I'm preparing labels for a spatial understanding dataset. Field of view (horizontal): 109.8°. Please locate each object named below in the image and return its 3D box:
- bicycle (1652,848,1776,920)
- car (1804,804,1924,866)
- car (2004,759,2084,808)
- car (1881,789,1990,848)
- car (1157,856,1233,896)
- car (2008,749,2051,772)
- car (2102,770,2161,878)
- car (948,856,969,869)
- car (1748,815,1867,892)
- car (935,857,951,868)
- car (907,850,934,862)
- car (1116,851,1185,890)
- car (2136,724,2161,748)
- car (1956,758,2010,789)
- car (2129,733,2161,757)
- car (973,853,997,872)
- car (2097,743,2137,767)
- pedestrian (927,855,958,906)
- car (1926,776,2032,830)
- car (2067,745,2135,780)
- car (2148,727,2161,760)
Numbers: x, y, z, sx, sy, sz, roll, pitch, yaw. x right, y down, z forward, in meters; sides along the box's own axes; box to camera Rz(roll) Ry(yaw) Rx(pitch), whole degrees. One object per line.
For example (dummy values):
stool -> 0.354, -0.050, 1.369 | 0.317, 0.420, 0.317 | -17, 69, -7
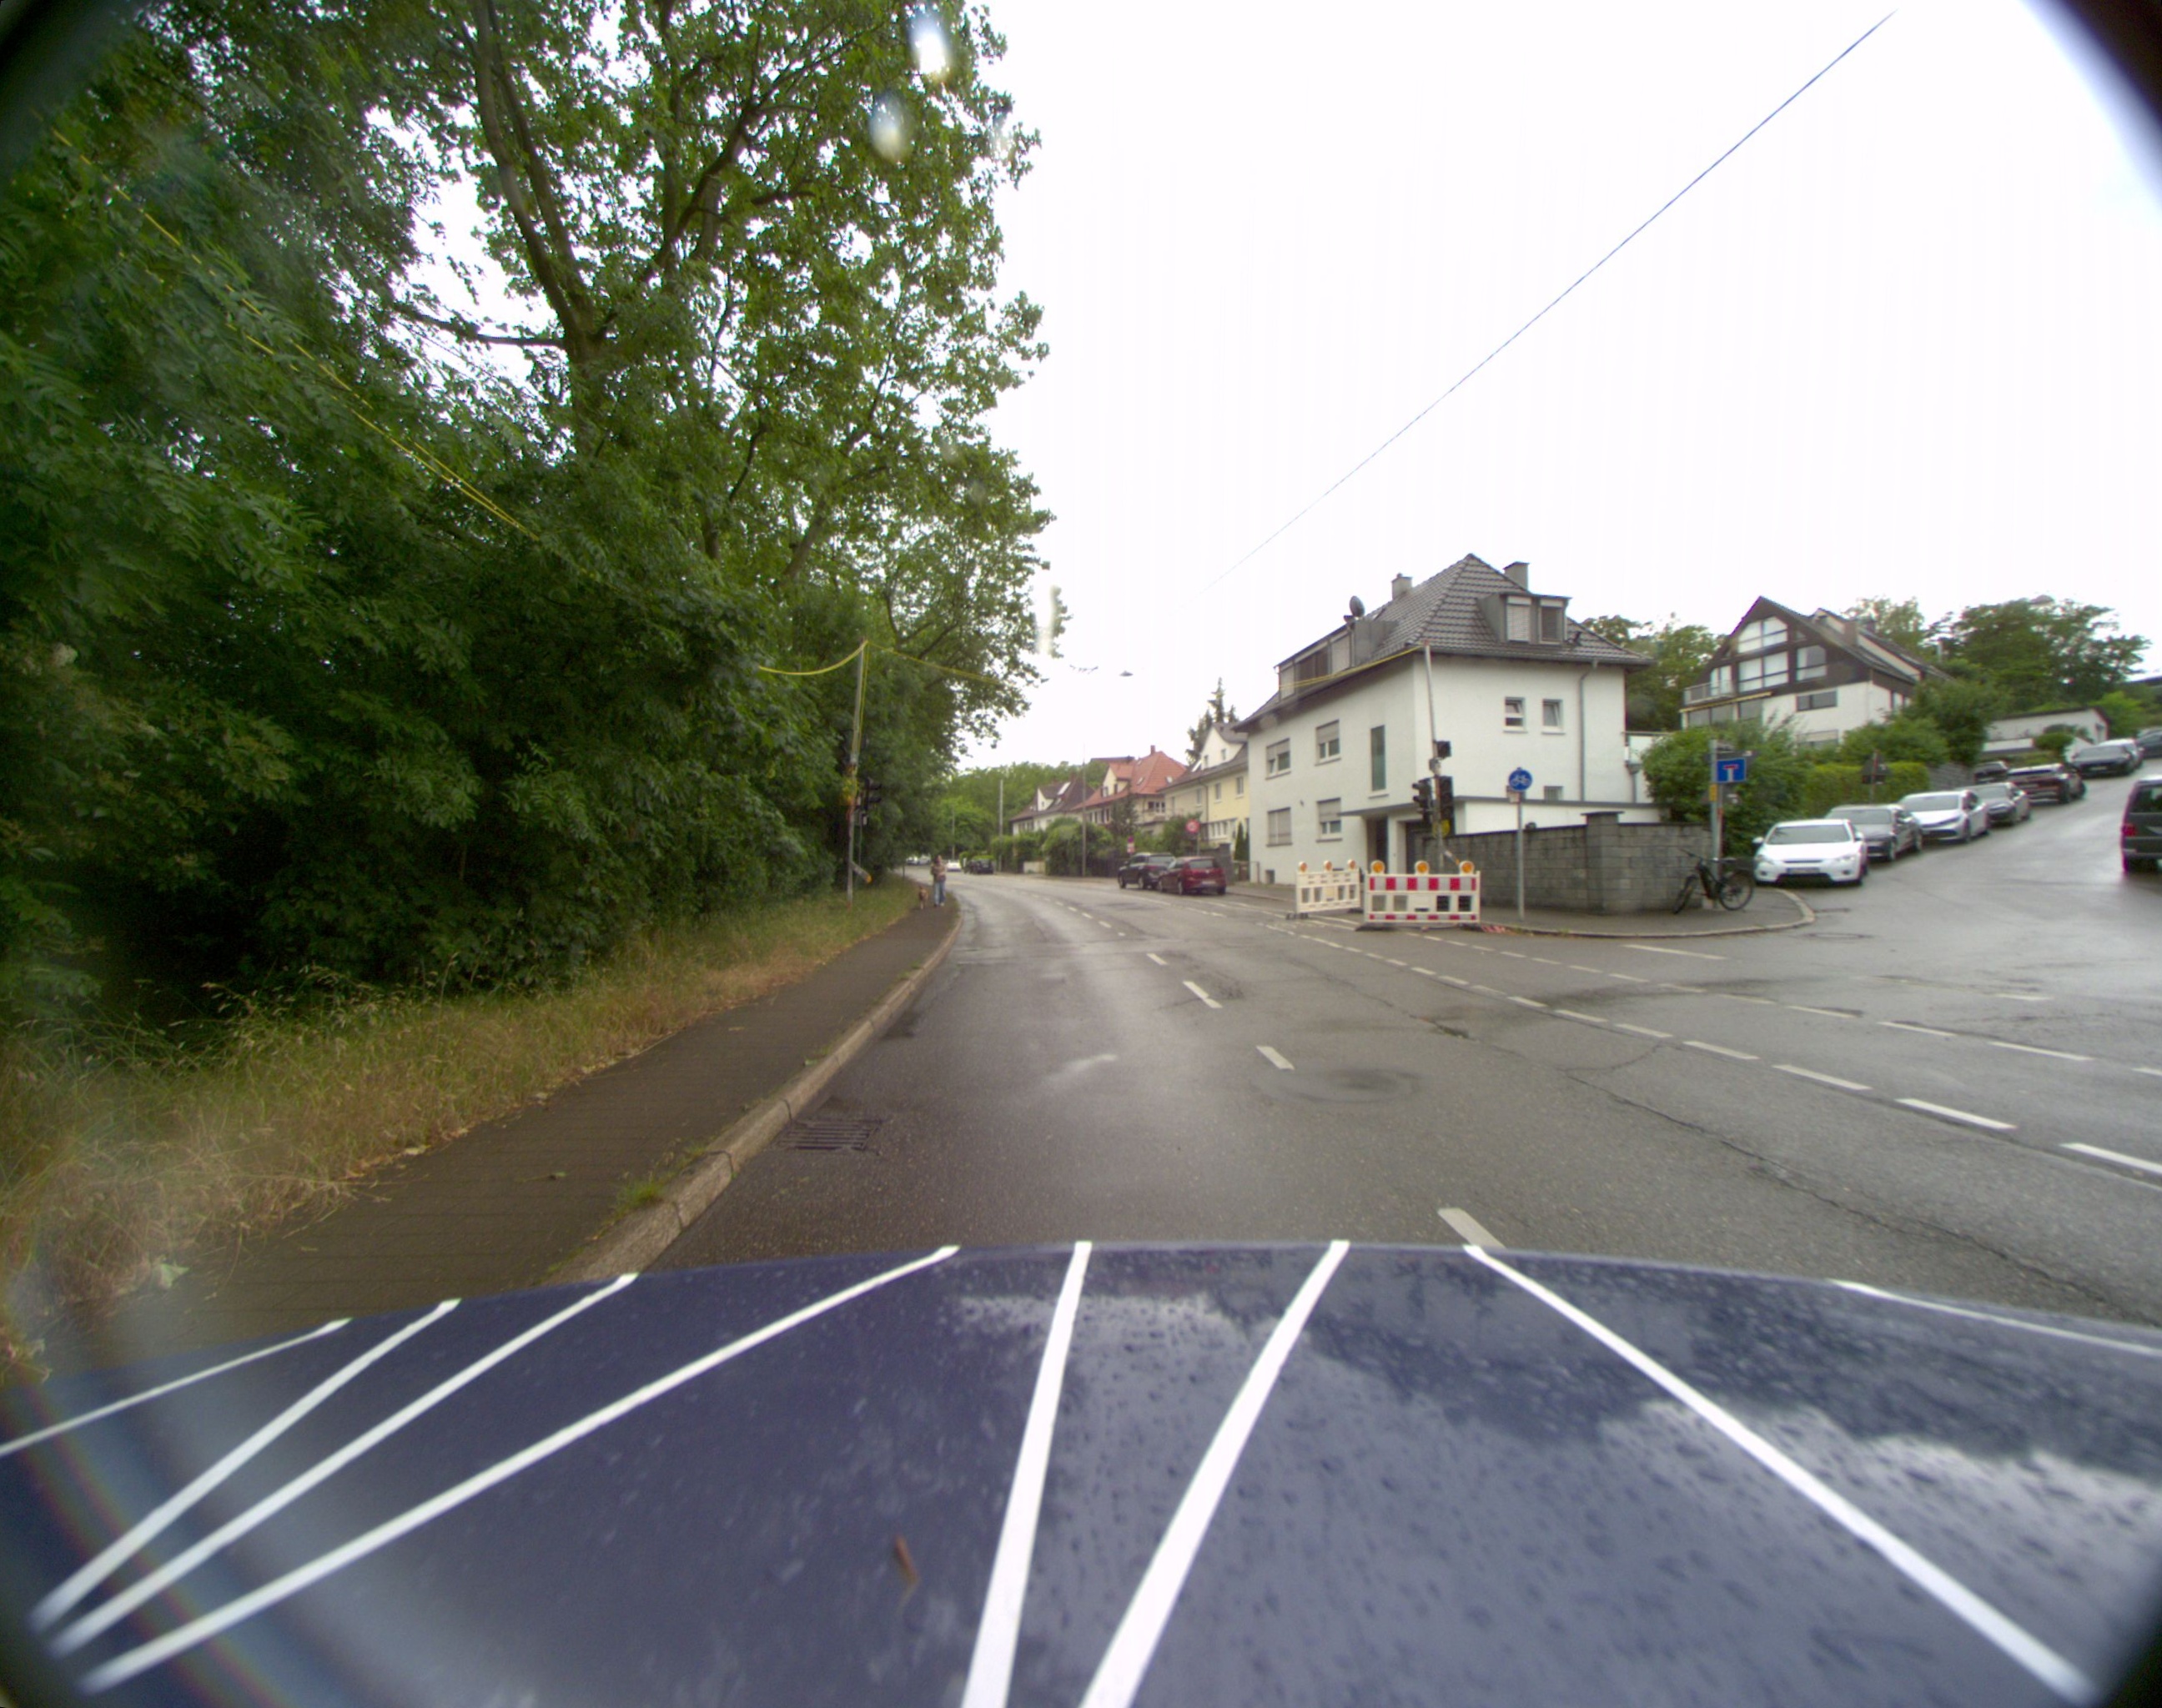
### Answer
bicycle -> 11.591, 0.533, 13.933 | 2.006, 1.232, 0.510 | -2, 3, -8
car -> 22.467, -0.562, 21.757 | 3.910, 1.380, 1.719 | -7, 3, -34
car -> 40.723, -2.988, 32.110 | 4.004, 1.617, 1.638 | -8, 4, -32
car -> 27.273, -1.157, 24.229 | 3.951, 1.462, 1.755 | -7, 3, -33
car -> 4.386, 0.814, 29.903 | 1.787, 1.423, 3.844 | -2, 0, -10
car -> 57.242, -5.643, 45.863 | 3.656, 1.205, 1.577 | -7, 3, -38
car -> 23.886, -0.756, 16.259 | 4.497, 2.003, 1.996 | -7, 3, -31
car -> -15.231, 1.069, 94.174 | 2.071, 1.477, 4.556 | -2, 0, -16
car -> 17.780, -0.052, 18.535 | 4.126, 1.455, 1.849 | -7, 4, -43
car -> -18.738, 1.130, 103.010 | 1.691, 1.419, 3.770 | -2, 0, -17
car -> -26.649, 0.321, 126.375 | 1.995, 1.772, 4.629 | -2, 0, 21
car -> 3.133, 0.728, 35.031 | 1.798, 1.630, 4.150 | -1, 0, -15
car -> 81.122, -8.873, 55.957 | 1.754, 1.508, 3.961 | -3, 1, -35
car -> 52.871, -4.654, 44.515 | 4.020, 1.545, 1.812 | -3, 1, -37
car -> 68.328, -6.943, 47.695 | 1.286, 1.310, 2.945 | -3, 1, -36
car -> -9.605, 0.840, 75.954 | 1.882, 1.814, 4.121 | -2, 0, -14
car -> 59.841, -5.747, 43.895 | 2.988, 1.191, 1.305 | -6, 3, -35
pedestrian -> -4.236, 0.797, 23.251 | 0.735, 1.490, 0.785 | -3, 1, -1
car -> 32.330, -1.836, 27.332 | 4.111, 1.430, 1.921 | -9, 4, -33
car -> 54.818, -4.885, 40.838 | 4.034, 1.511, 1.786 | -2, 0, -31
car -> 72.468, -7.453, 48.979 | 2.003, 2.000, 3.993 | -2, -4, -32
